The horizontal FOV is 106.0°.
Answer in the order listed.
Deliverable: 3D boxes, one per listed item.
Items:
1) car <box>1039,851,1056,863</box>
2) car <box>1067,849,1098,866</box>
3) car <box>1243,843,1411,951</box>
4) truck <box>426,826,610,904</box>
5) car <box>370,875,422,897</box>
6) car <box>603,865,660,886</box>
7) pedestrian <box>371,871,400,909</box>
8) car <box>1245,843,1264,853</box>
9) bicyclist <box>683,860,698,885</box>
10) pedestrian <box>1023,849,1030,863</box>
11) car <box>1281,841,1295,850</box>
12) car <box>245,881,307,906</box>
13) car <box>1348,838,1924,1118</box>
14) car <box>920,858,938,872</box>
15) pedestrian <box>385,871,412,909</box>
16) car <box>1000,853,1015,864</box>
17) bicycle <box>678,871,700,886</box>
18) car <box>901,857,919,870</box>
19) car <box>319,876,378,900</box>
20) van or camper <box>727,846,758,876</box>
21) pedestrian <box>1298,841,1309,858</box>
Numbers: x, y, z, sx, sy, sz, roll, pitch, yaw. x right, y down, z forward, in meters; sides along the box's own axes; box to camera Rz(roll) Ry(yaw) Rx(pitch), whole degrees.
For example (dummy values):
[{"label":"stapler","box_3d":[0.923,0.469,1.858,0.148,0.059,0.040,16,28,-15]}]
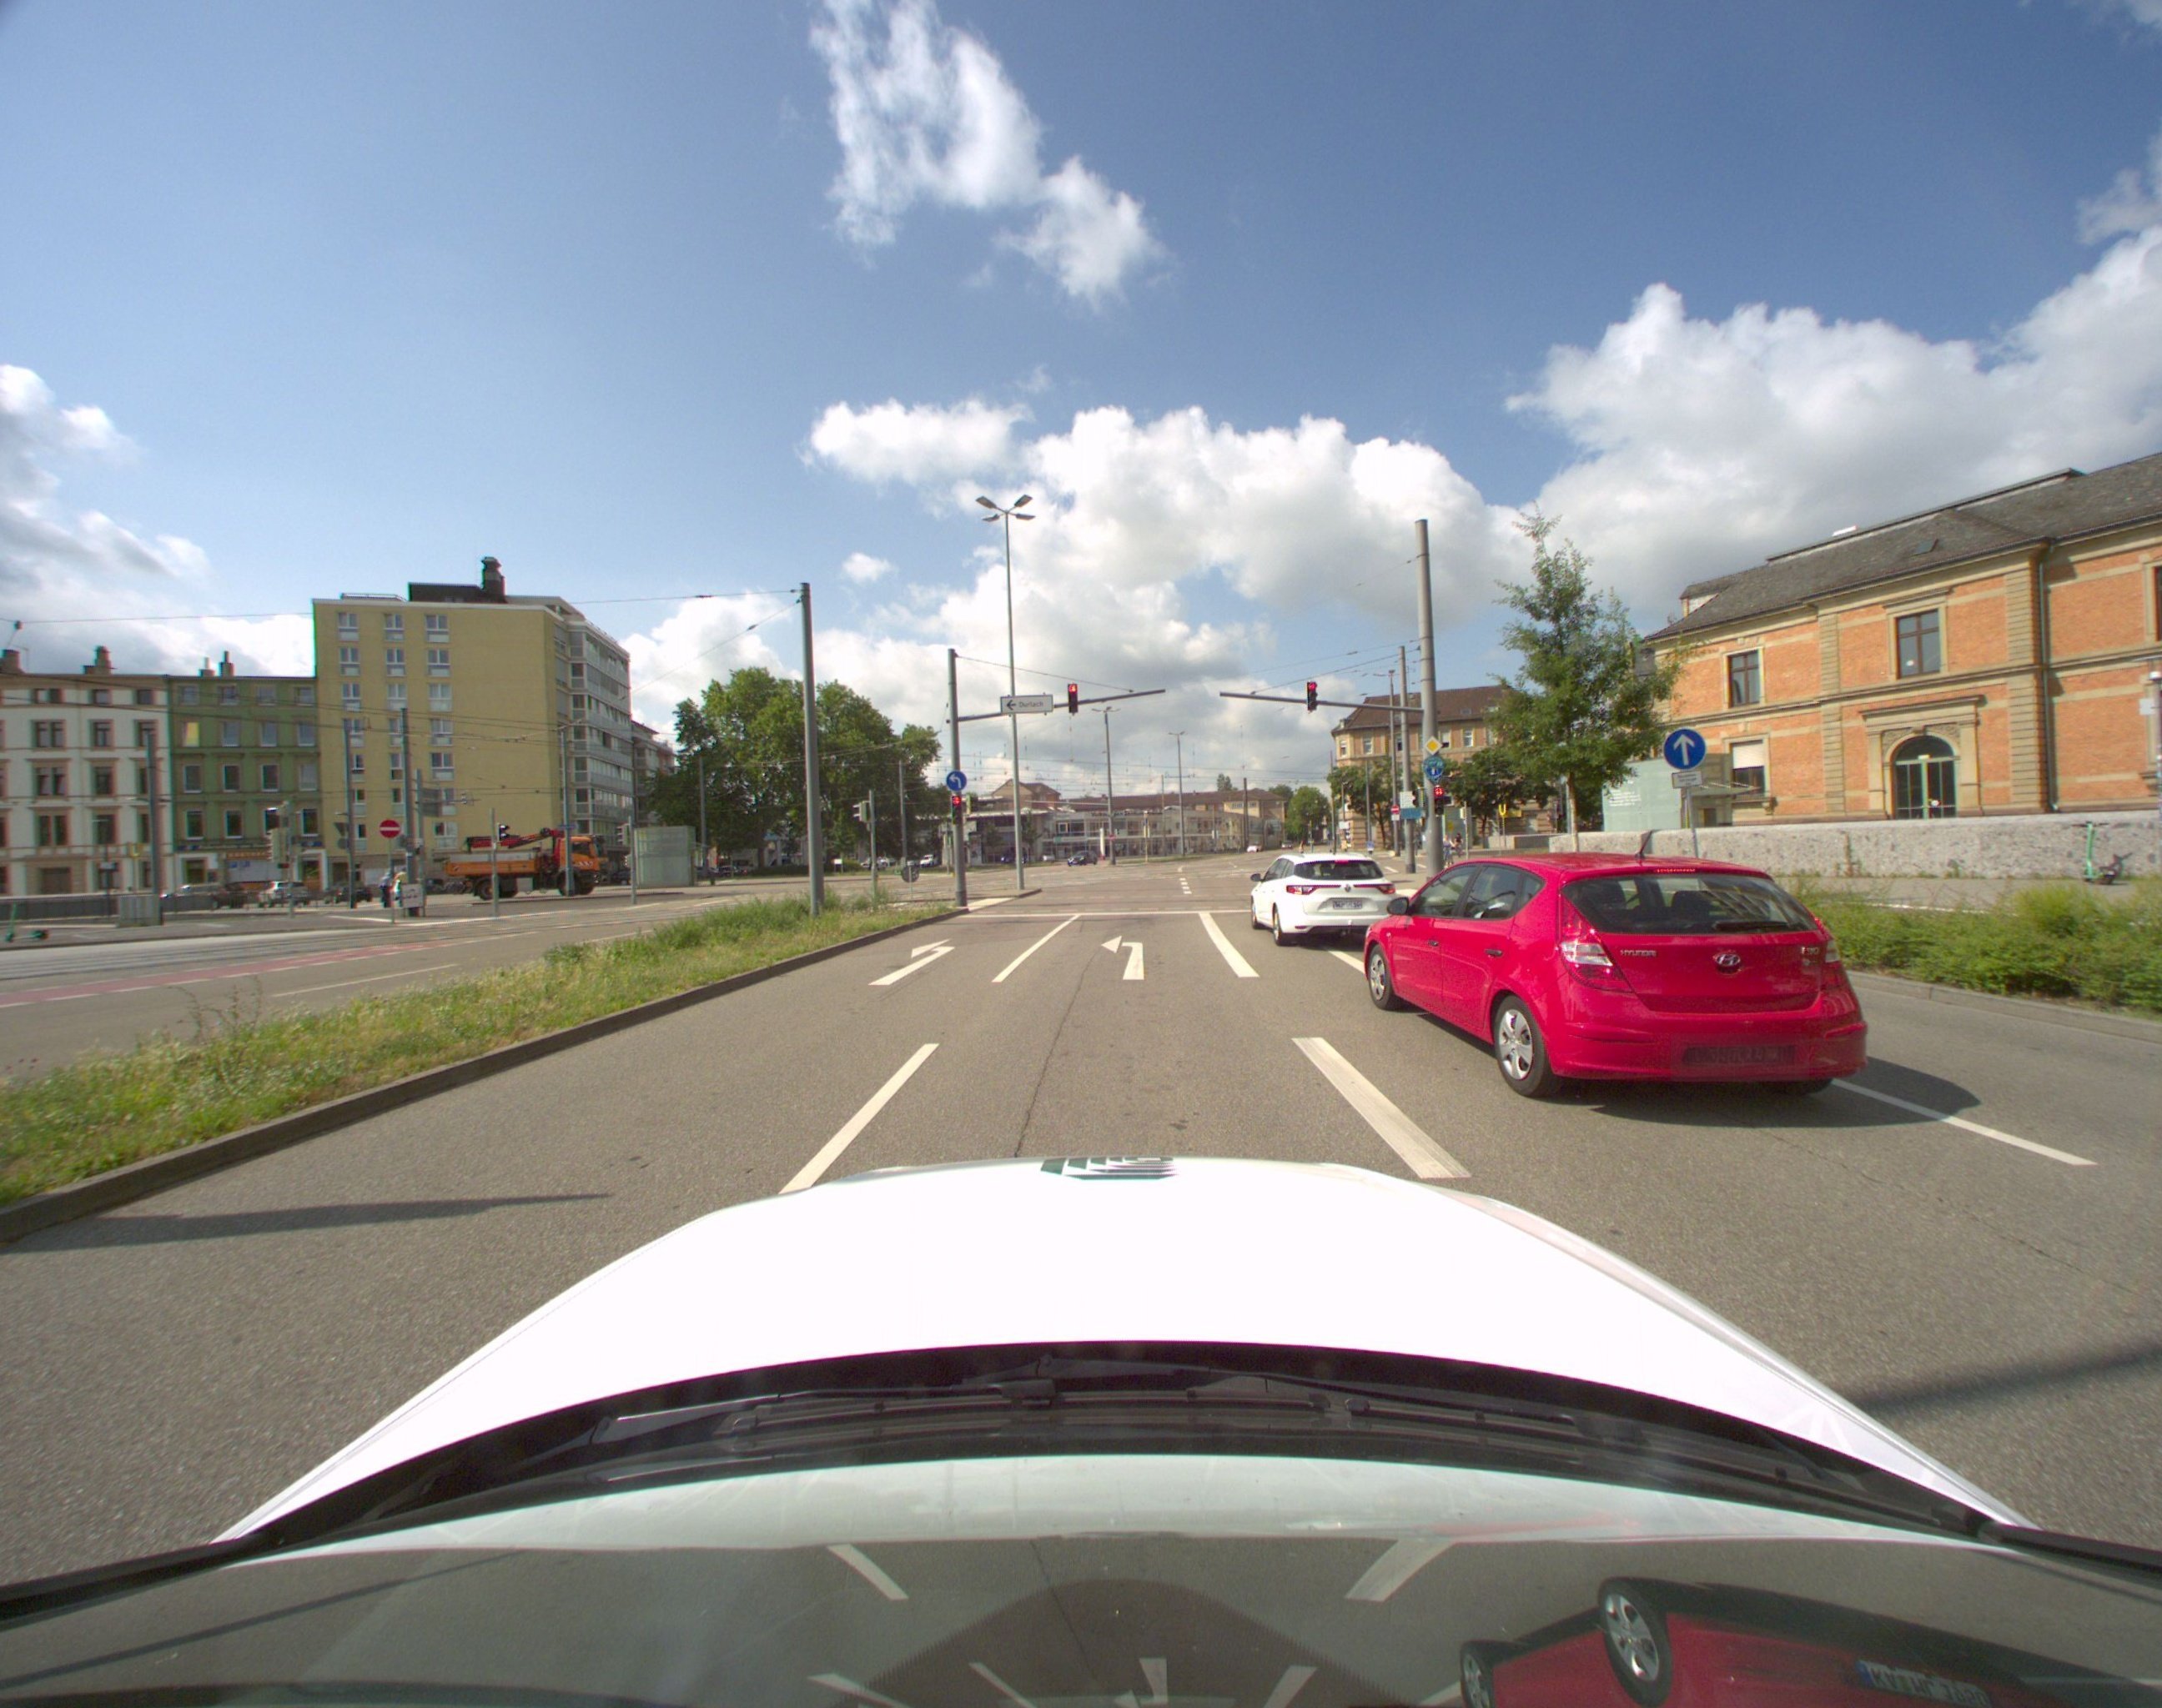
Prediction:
[{"label":"car","box_3d":[-4.914,0.434,118.241,1.993,1.596,3.988,-2,0,-8]},{"label":"car","box_3d":[0.182,0.343,80.419,1.978,1.530,4.018,-2,0,17]},{"label":"car","box_3d":[3.951,0.614,13.846,1.839,1.472,4.341,-3,0,5]},{"label":"truck","box_3d":[-30.971,0.556,45.183,7.936,3.856,2.187,-2,0,-18]},{"label":"car","box_3d":[-46.297,2.156,55.029,3.629,1.350,1.708,-2,0,34]},{"label":"car","box_3d":[-39.119,1.873,70.958,3.997,1.662,1.988,-2,0,-18]},{"label":"pedestrian","box_3d":[-35.288,1.835,41.335,0.696,1.860,0.819,-2,0,3]},{"label":"car","box_3d":[28.572,-1.003,133.787,1.975,1.442,4.025,-2,0,28]},{"label":"bicyclist","box_3d":[-29.927,1.447,62.487,0.888,1.871,0.759,-2,0,-19]},{"label":"pedestrian","box_3d":[-7.743,0.312,114.835,0.880,1.948,0.886,-2,0,-6]},{"label":"car","box_3d":[39.498,-1.683,155.500,1.976,1.574,4.022,-2,0,23]},{"label":"car","box_3d":[-52.201,2.556,52.808,3.630,1.500,1.708,-2,0,26]},{"label":"car","box_3d":[3.551,0.633,6.282,1.809,1.439,4.070,-1,0,2]},{"label":"car","box_3d":[-22.190,1.596,118.893,1.989,2.013,3.996,-2,0,-3]},{"label":"pedestrian","box_3d":[-34.589,1.818,41.293,0.647,1.868,0.782,-2,0,3]},{"label":"car","box_3d":[-10.561,0.659,117.495,1.990,1.552,4.073,-2,0,-4]},{"label":"bicycle","box_3d":[-30.043,1.872,62.409,1.469,1.117,0.583,-2,0,-19]},{"label":"car","box_3d":[-25.057,1.432,119.342,1.793,1.769,3.996,-2,0,-3]},{"label":"car","box_3d":[-48.302,2.230,53.708,3.953,1.436,1.883,-2,0,33]},{"label":"van or camper","box_3d":[-35.884,0.729,86.443,2.590,2.908,6.059,-2,0,-19]},{"label":"pedestrian","box_3d":[20.401,-0.373,74.685,0.678,1.535,0.666,-2,0,-37]}]
